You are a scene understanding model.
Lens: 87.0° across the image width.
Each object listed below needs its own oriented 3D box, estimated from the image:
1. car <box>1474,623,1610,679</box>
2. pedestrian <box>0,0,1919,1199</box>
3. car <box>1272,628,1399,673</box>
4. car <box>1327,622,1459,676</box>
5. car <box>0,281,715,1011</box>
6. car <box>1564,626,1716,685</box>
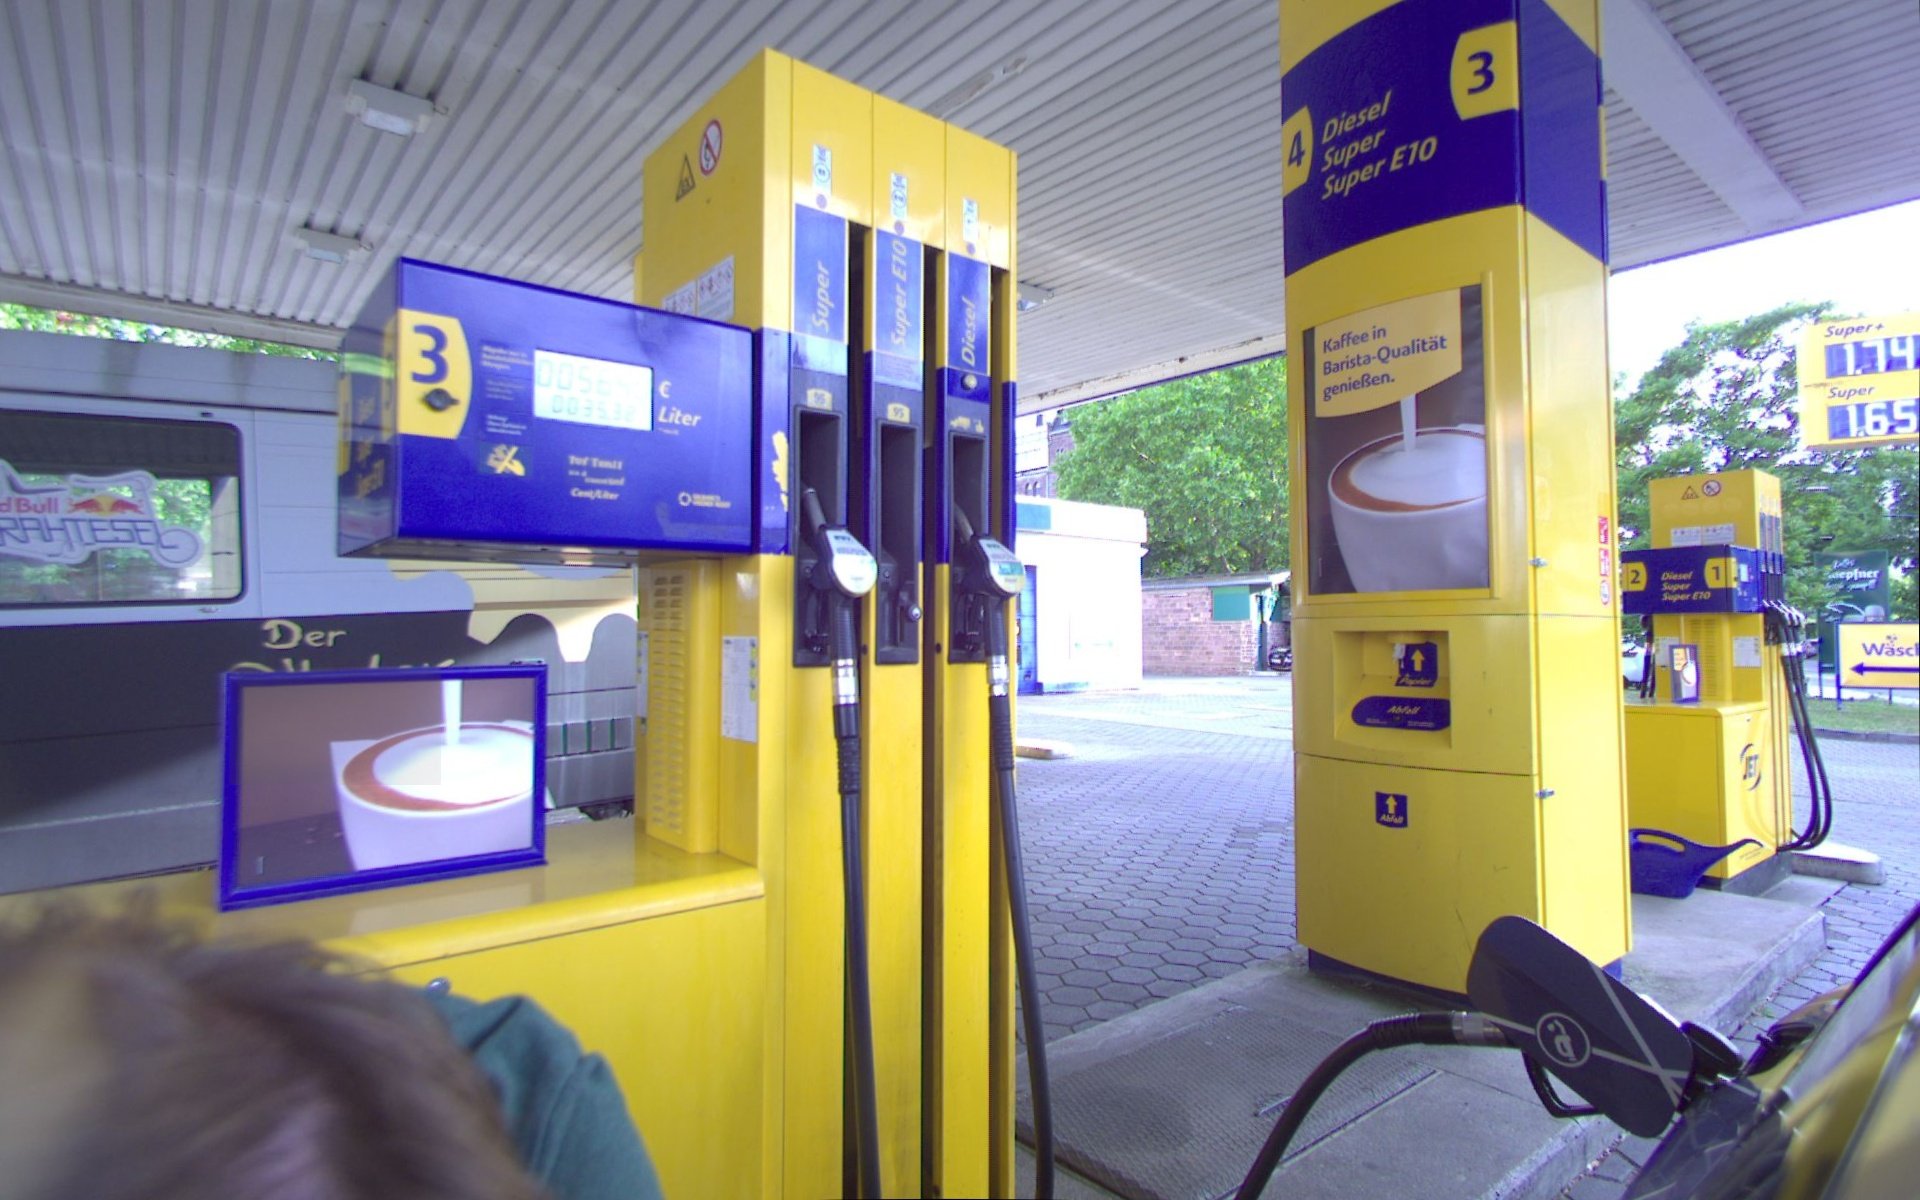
[{"bbox_3d":[17.773,1.570,30.859,4.112,1.606,1.826,2,-3,-31],"label":"car"},{"bbox_3d":[-0.330,0.518,0.575,0.975,1.750,1.182,-2,1,-36],"label":"pedestrian"},{"bbox_3d":[12.645,1.691,34.041,4.112,1.453,1.826,2,-3,-31],"label":"car"},{"bbox_3d":[13.784,1.560,32.178,4.112,1.606,1.826,2,-3,-31],"label":"car"},{"bbox_3d":[-4.096,0.183,4.864,5.248,2.760,2.201,0,-1,-39],"label":"car"},{"bbox_3d":[18.256,1.480,27.143,4.112,1.478,1.826,2,-3,-31],"label":"car"}]
